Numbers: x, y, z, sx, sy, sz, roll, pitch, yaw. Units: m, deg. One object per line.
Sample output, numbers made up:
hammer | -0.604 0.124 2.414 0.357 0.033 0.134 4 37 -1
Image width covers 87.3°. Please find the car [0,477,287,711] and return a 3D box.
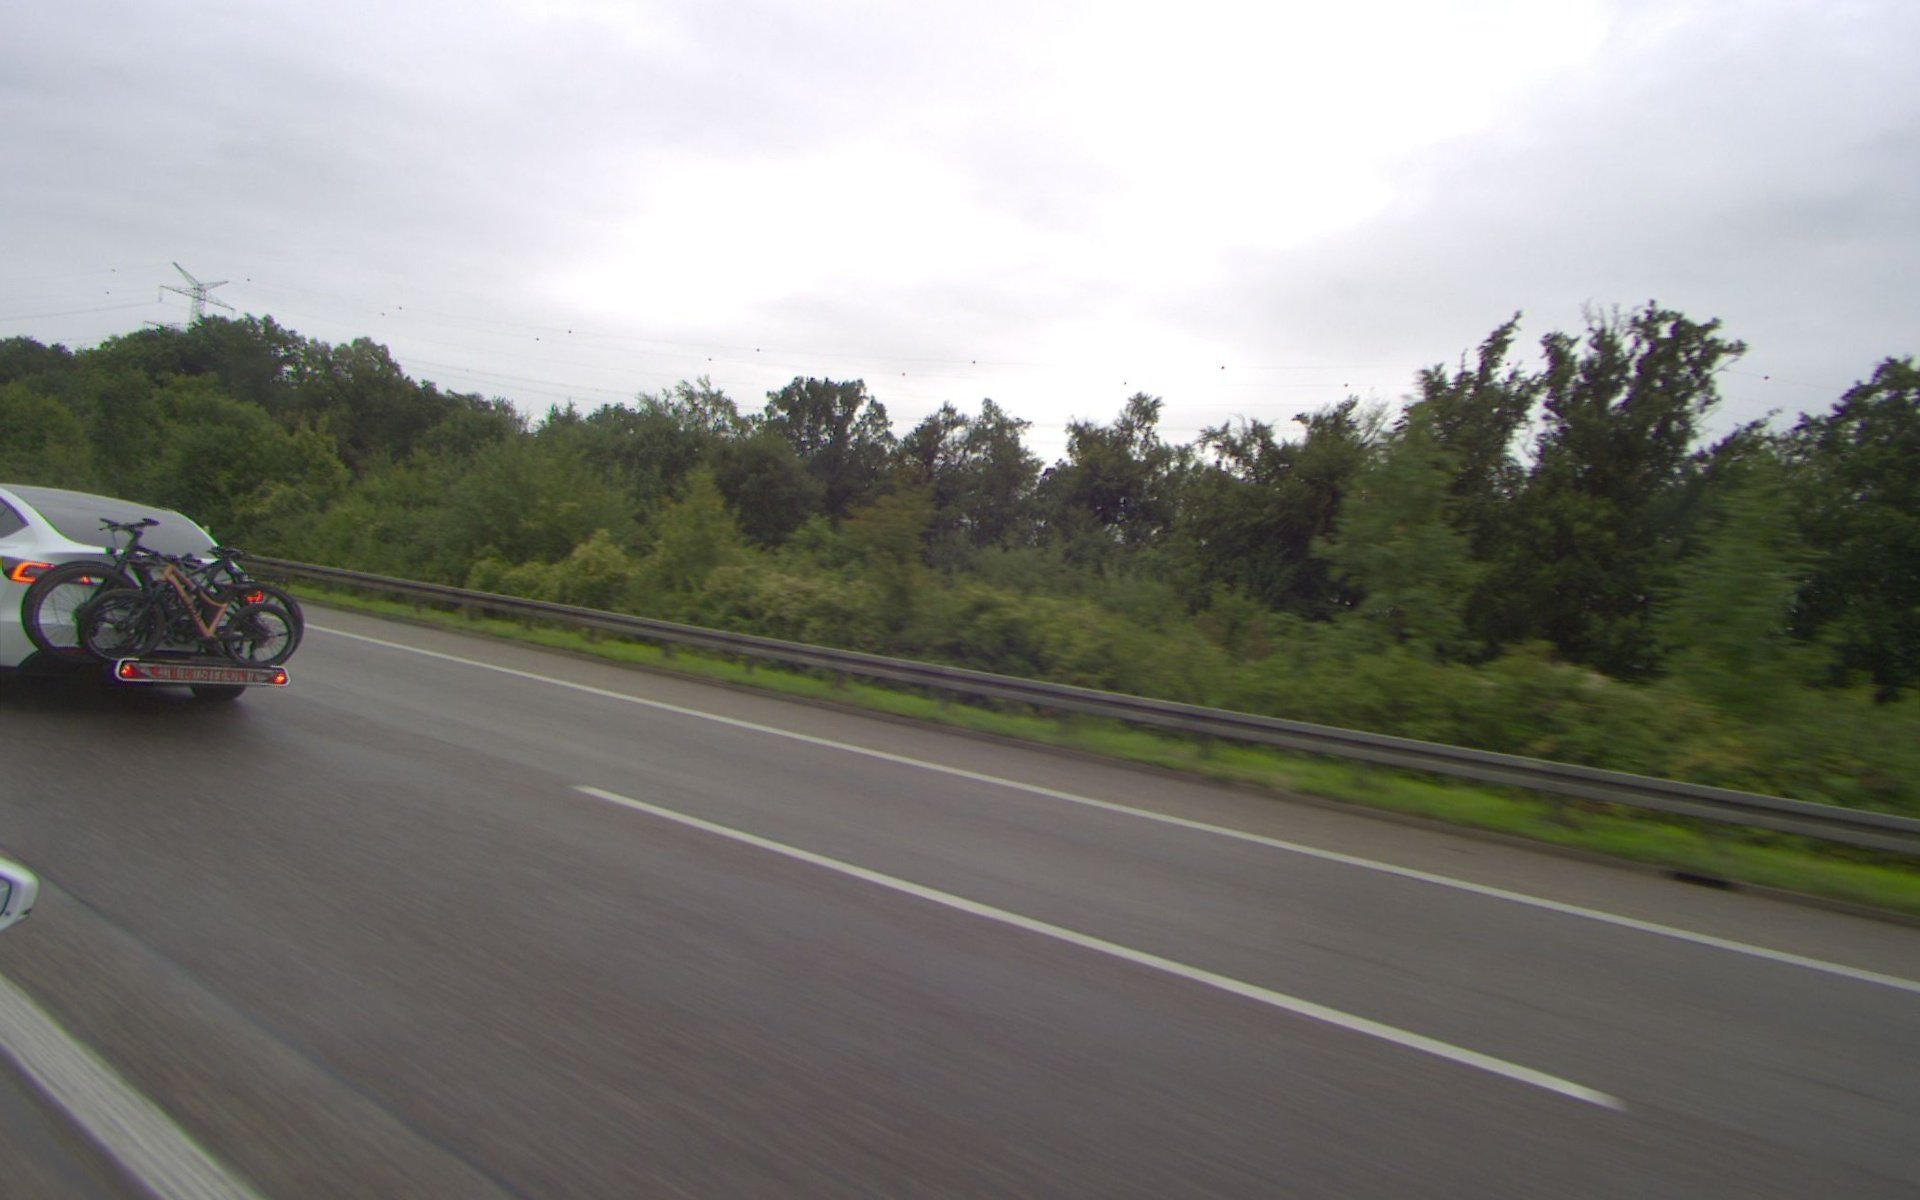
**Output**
car | -8.167 -0.208 8.776 4.882 1.586 1.863 7 -1 32

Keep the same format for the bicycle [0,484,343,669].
bicycle | -5.651 -0.121 7.261 0.899 1.103 1.756 6 -1 31
